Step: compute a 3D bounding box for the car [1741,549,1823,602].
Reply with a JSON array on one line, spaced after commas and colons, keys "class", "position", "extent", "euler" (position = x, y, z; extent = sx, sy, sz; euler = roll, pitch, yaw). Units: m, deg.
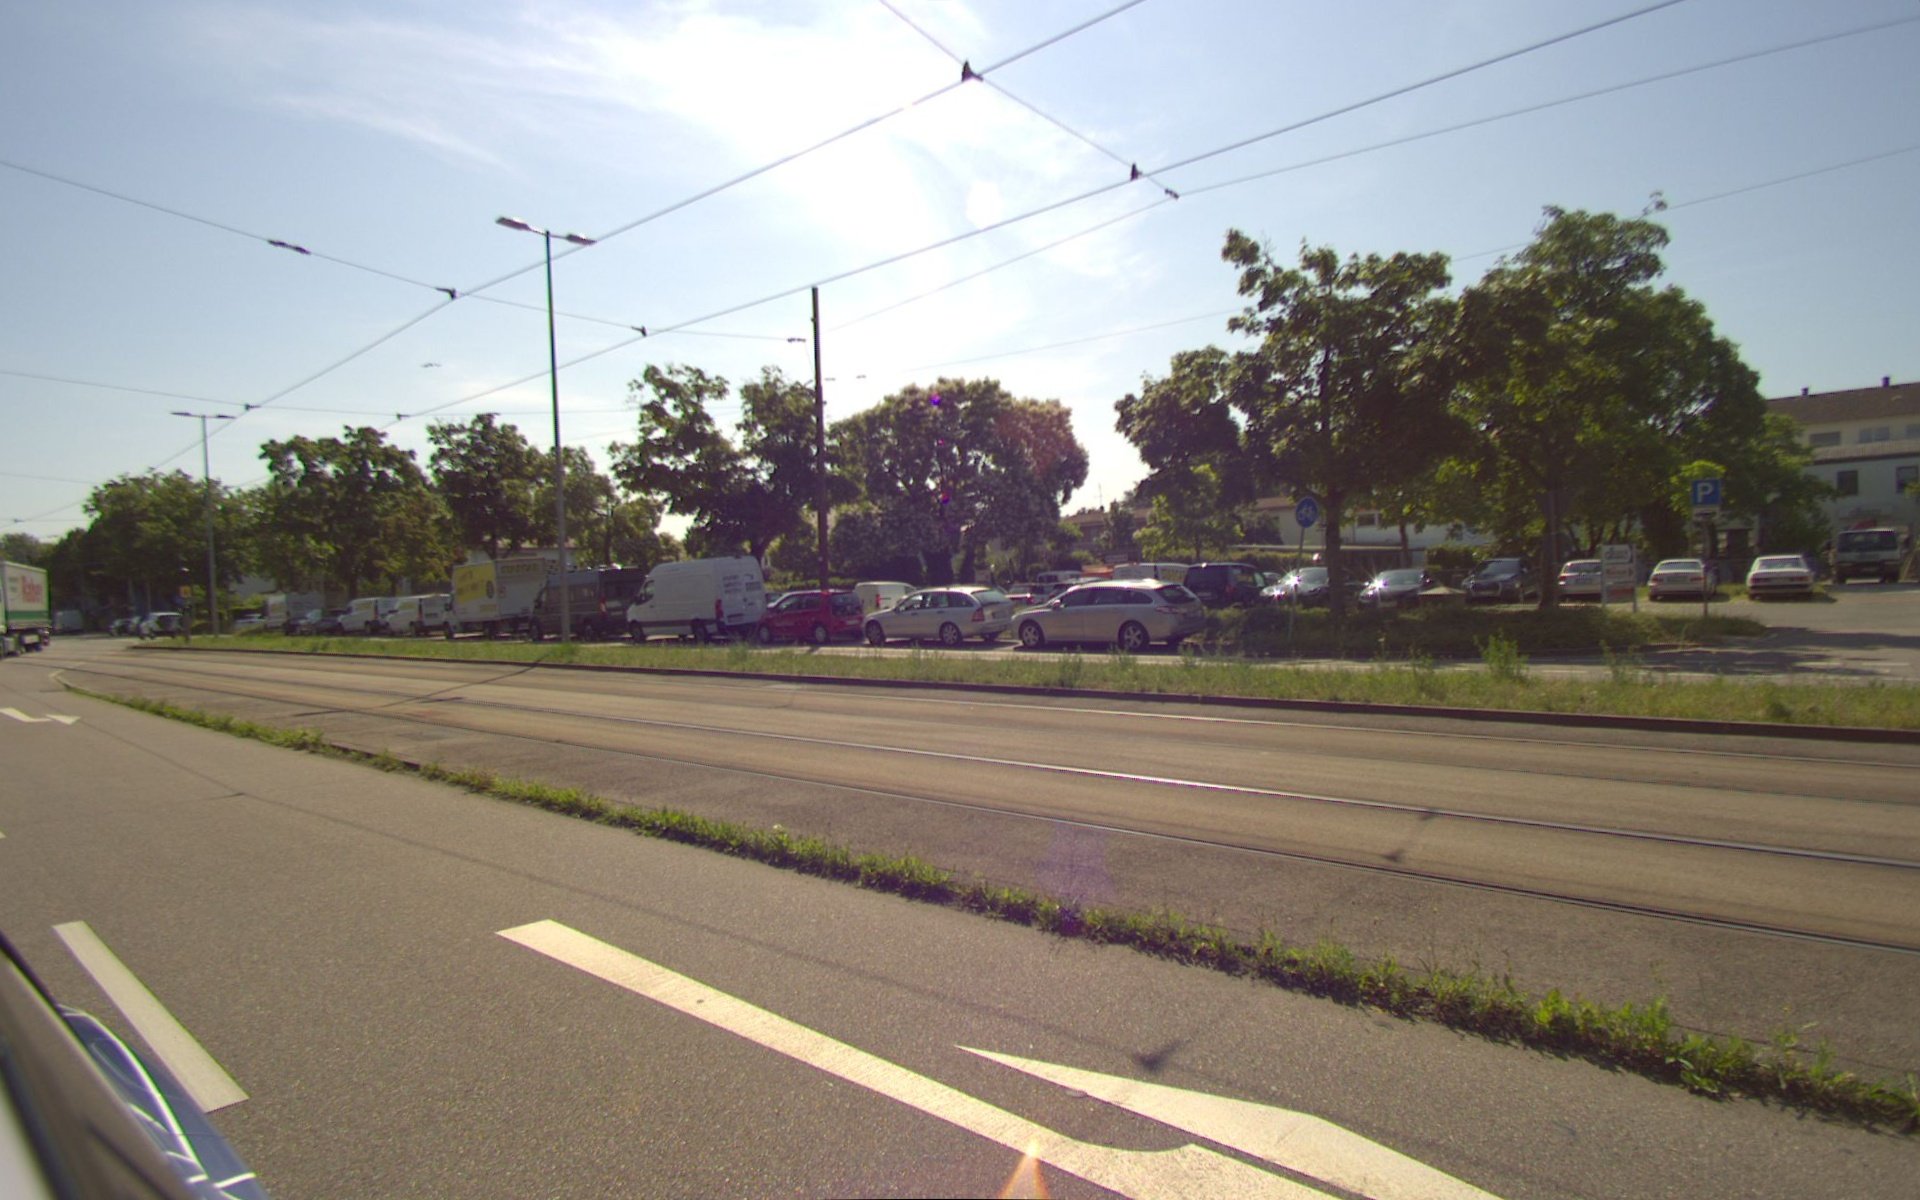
[{"class": "car", "position": [26.420, -0.797, 32.575], "extent": [1.909, 1.545, 3.948], "euler": [-2, 0, 39]}]

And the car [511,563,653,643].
[{"class": "car", "position": [-14.202, 0.146, 37.836], "extent": [6.075, 2.688, 2.174], "euler": [-2, 2, 40]}]

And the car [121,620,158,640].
[{"class": "car", "position": [-71.276, 2.623, 87.924], "extent": [4.238, 1.625, 1.658], "euler": [-2, 0, 39]}]

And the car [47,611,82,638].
[{"class": "car", "position": [-99.718, 2.737, 112.639], "extent": [6.083, 2.670, 1.991], "euler": [-2, 4, 41]}]

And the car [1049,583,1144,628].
[{"class": "car", "position": [4.740, 0.162, 34.846], "extent": [1.486, 1.381, 3.950], "euler": [-2, 0, 37]}]

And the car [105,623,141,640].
[{"class": "car", "position": [-76.355, 2.873, 92.275], "extent": [4.453, 1.446, 1.658], "euler": [-2, 0, 39]}]

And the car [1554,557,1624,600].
[{"class": "car", "position": [22.964, -0.792, 36.893], "extent": [1.674, 1.435, 3.934], "euler": [-2, 0, 39]}]

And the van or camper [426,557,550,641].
[{"class": "van or camper", "position": [-20.228, 0.027, 43.217], "extent": [6.770, 3.265, 2.173], "euler": [-2, 2, 43]}]

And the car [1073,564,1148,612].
[{"class": "car", "position": [7.451, -0.594, 49.830], "extent": [1.908, 2.216, 3.950], "euler": [-2, 0, 37]}]

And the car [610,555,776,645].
[{"class": "car", "position": [-8.834, 0.044, 33.148], "extent": [5.976, 2.650, 2.173], "euler": [-2, 2, 41]}]

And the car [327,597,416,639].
[{"class": "car", "position": [-31.176, 0.956, 53.572], "extent": [5.176, 1.955, 2.176], "euler": [-2, 2, 37]}]

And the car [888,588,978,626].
[{"class": "car", "position": [-1.037, 0.252, 41.102], "extent": [1.486, 1.381, 3.950], "euler": [-2, 0, 37]}]

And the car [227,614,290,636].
[{"class": "car", "position": [-51.438, 1.783, 74.305], "extent": [1.770, 1.433, 4.340], "euler": [-2, 0, -4]}]

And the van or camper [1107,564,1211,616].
[{"class": "van or camper", "position": [6.606, -0.344, 33.342], "extent": [1.872, 1.574, 3.952], "euler": [-2, 0, 35]}]

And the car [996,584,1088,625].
[{"class": "car", "position": [3.071, 0.131, 37.396], "extent": [1.486, 1.381, 3.950], "euler": [-2, 0, 37]}]

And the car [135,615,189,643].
[{"class": "car", "position": [-49.900, 1.812, 63.267], "extent": [4.661, 1.609, 2.020], "euler": [-2, -1, 44]}]

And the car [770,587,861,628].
[{"class": "car", "position": [-6.522, 0.303, 46.002], "extent": [1.662, 1.707, 3.946], "euler": [-2, 1, 40]}]

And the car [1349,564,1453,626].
[{"class": "car", "position": [12.367, -0.168, 28.260], "extent": [1.661, 1.574, 3.948], "euler": [-2, 0, 39]}]

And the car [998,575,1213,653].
[{"class": "car", "position": [3.150, 0.327, 22.633], "extent": [4.617, 1.501, 1.587], "euler": [-2, 3, 43]}]

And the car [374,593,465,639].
[{"class": "car", "position": [-26.261, 0.797, 49.100], "extent": [5.184, 1.955, 2.173], "euler": [-2, 3, 42]}]

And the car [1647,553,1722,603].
[{"class": "car", "position": [24.844, -0.755, 34.662], "extent": [1.908, 1.545, 3.950], "euler": [-2, 0, 38]}]

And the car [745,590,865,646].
[{"class": "car", "position": [-4.524, 0.519, 29.347], "extent": [3.673, 1.501, 1.279], "euler": [-2, 1, 39]}]

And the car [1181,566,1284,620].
[{"class": "car", "position": [8.594, -0.240, 31.723], "extent": [1.661, 1.574, 3.948], "euler": [-2, 0, 39]}]

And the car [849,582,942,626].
[{"class": "car", "position": [-2.690, 0.164, 42.922], "extent": [1.662, 1.707, 3.946], "euler": [-2, 1, 40]}]

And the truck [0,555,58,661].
[{"class": "truck", "position": [-42.106, 0.463, 43.428], "extent": [3.338, 4.100, 14.321], "euler": [-3, 1, -35]}]

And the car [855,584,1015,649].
[{"class": "car", "position": [-0.710, 0.423, 26.068], "extent": [4.349, 1.501, 1.278], "euler": [-2, 2, 41]}]

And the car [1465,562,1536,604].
[{"class": "car", "position": [20.226, -0.639, 37.828], "extent": [1.674, 1.435, 3.935], "euler": [-2, 0, 38]}]

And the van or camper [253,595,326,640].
[{"class": "van or camper", "position": [-40.976, 1.091, 61.771], "extent": [6.146, 2.533, 2.233], "euler": [-2, 0, 43]}]

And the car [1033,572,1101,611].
[{"class": "car", "position": [5.923, -0.479, 55.618], "extent": [1.908, 2.018, 3.950], "euler": [-2, 0, 37]}]

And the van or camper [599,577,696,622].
[{"class": "van or camper", "position": [-24.145, -0.052, 78.580], "extent": [2.579, 3.269, 6.882], "euler": [-2, 0, 39]}]

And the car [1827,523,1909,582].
[{"class": "car", "position": [36.894, -1.894, 41.229], "extent": [2.097, 2.190, 4.882], "euler": [-2, 1, 38]}]

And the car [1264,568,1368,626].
[{"class": "car", "position": [10.549, -0.123, 29.846], "extent": [1.661, 1.574, 3.948], "euler": [-2, 0, 39]}]

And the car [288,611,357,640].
[{"class": "car", "position": [-36.078, 1.460, 57.229], "extent": [4.883, 1.465, 1.912], "euler": [-2, 2, 41]}]
